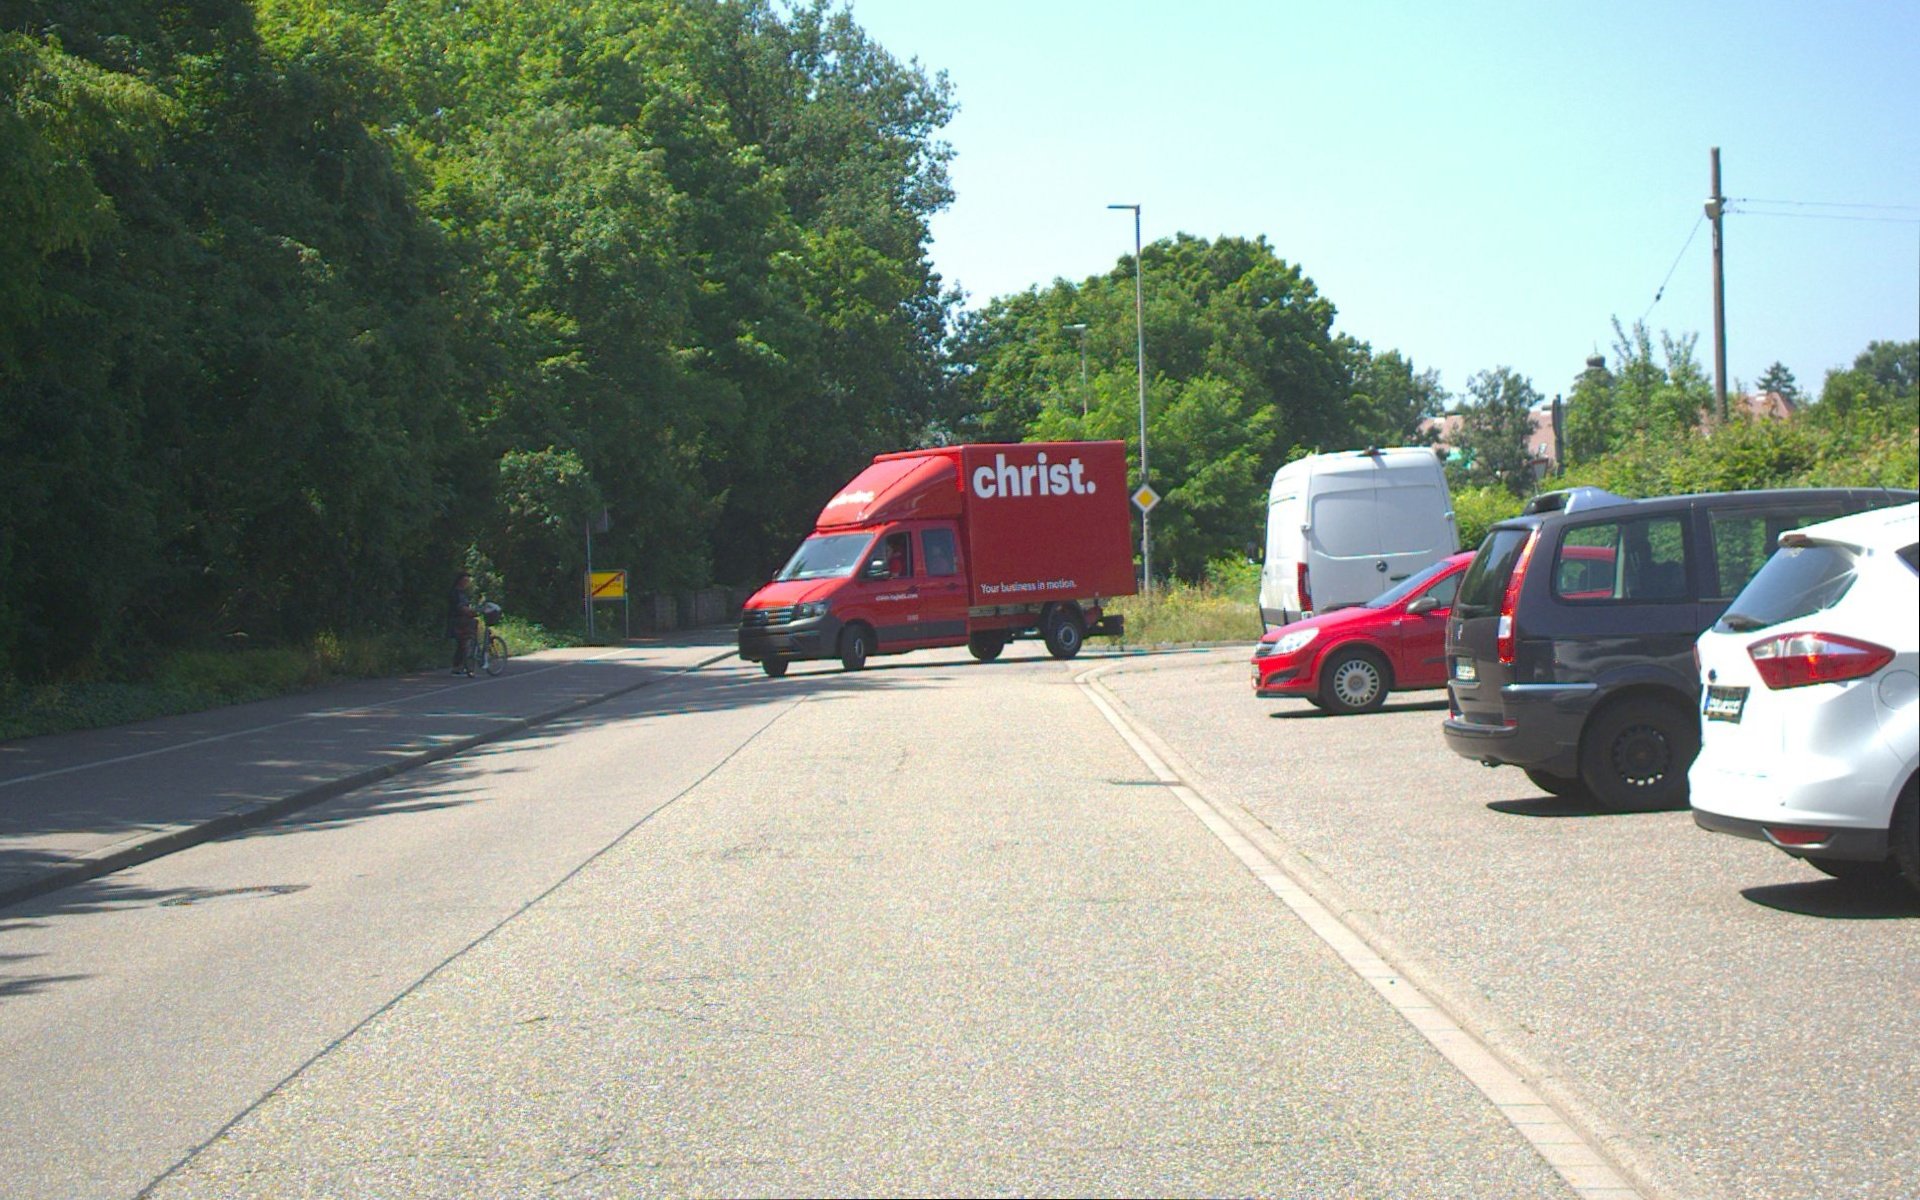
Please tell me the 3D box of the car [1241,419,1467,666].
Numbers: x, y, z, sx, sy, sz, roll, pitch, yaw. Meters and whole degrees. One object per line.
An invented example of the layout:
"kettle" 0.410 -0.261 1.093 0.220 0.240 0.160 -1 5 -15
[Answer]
"car" 4.843 -0.714 43.279 1.954 2.724 7.167 -4 1 1

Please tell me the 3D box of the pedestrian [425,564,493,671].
"pedestrian" -8.152 0.283 55.961 0.809 1.712 0.776 -1 0 16

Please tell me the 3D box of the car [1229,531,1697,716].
"car" 4.745 0.206 32.807 4.053 1.429 1.836 -4 1 -3

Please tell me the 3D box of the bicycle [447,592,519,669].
"bicycle" -7.750 0.486 55.902 0.521 1.232 1.960 0 0 12

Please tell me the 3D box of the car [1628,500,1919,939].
"car" 5.029 0.312 13.687 4.275 1.572 1.765 -4 1 -2

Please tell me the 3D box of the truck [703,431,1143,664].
"truck" -0.490 -0.893 53.848 7.141 3.428 2.329 -2 3 -42

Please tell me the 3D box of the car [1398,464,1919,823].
"car" 4.986 0.169 19.931 4.452 1.798 1.953 -4 0 -4
